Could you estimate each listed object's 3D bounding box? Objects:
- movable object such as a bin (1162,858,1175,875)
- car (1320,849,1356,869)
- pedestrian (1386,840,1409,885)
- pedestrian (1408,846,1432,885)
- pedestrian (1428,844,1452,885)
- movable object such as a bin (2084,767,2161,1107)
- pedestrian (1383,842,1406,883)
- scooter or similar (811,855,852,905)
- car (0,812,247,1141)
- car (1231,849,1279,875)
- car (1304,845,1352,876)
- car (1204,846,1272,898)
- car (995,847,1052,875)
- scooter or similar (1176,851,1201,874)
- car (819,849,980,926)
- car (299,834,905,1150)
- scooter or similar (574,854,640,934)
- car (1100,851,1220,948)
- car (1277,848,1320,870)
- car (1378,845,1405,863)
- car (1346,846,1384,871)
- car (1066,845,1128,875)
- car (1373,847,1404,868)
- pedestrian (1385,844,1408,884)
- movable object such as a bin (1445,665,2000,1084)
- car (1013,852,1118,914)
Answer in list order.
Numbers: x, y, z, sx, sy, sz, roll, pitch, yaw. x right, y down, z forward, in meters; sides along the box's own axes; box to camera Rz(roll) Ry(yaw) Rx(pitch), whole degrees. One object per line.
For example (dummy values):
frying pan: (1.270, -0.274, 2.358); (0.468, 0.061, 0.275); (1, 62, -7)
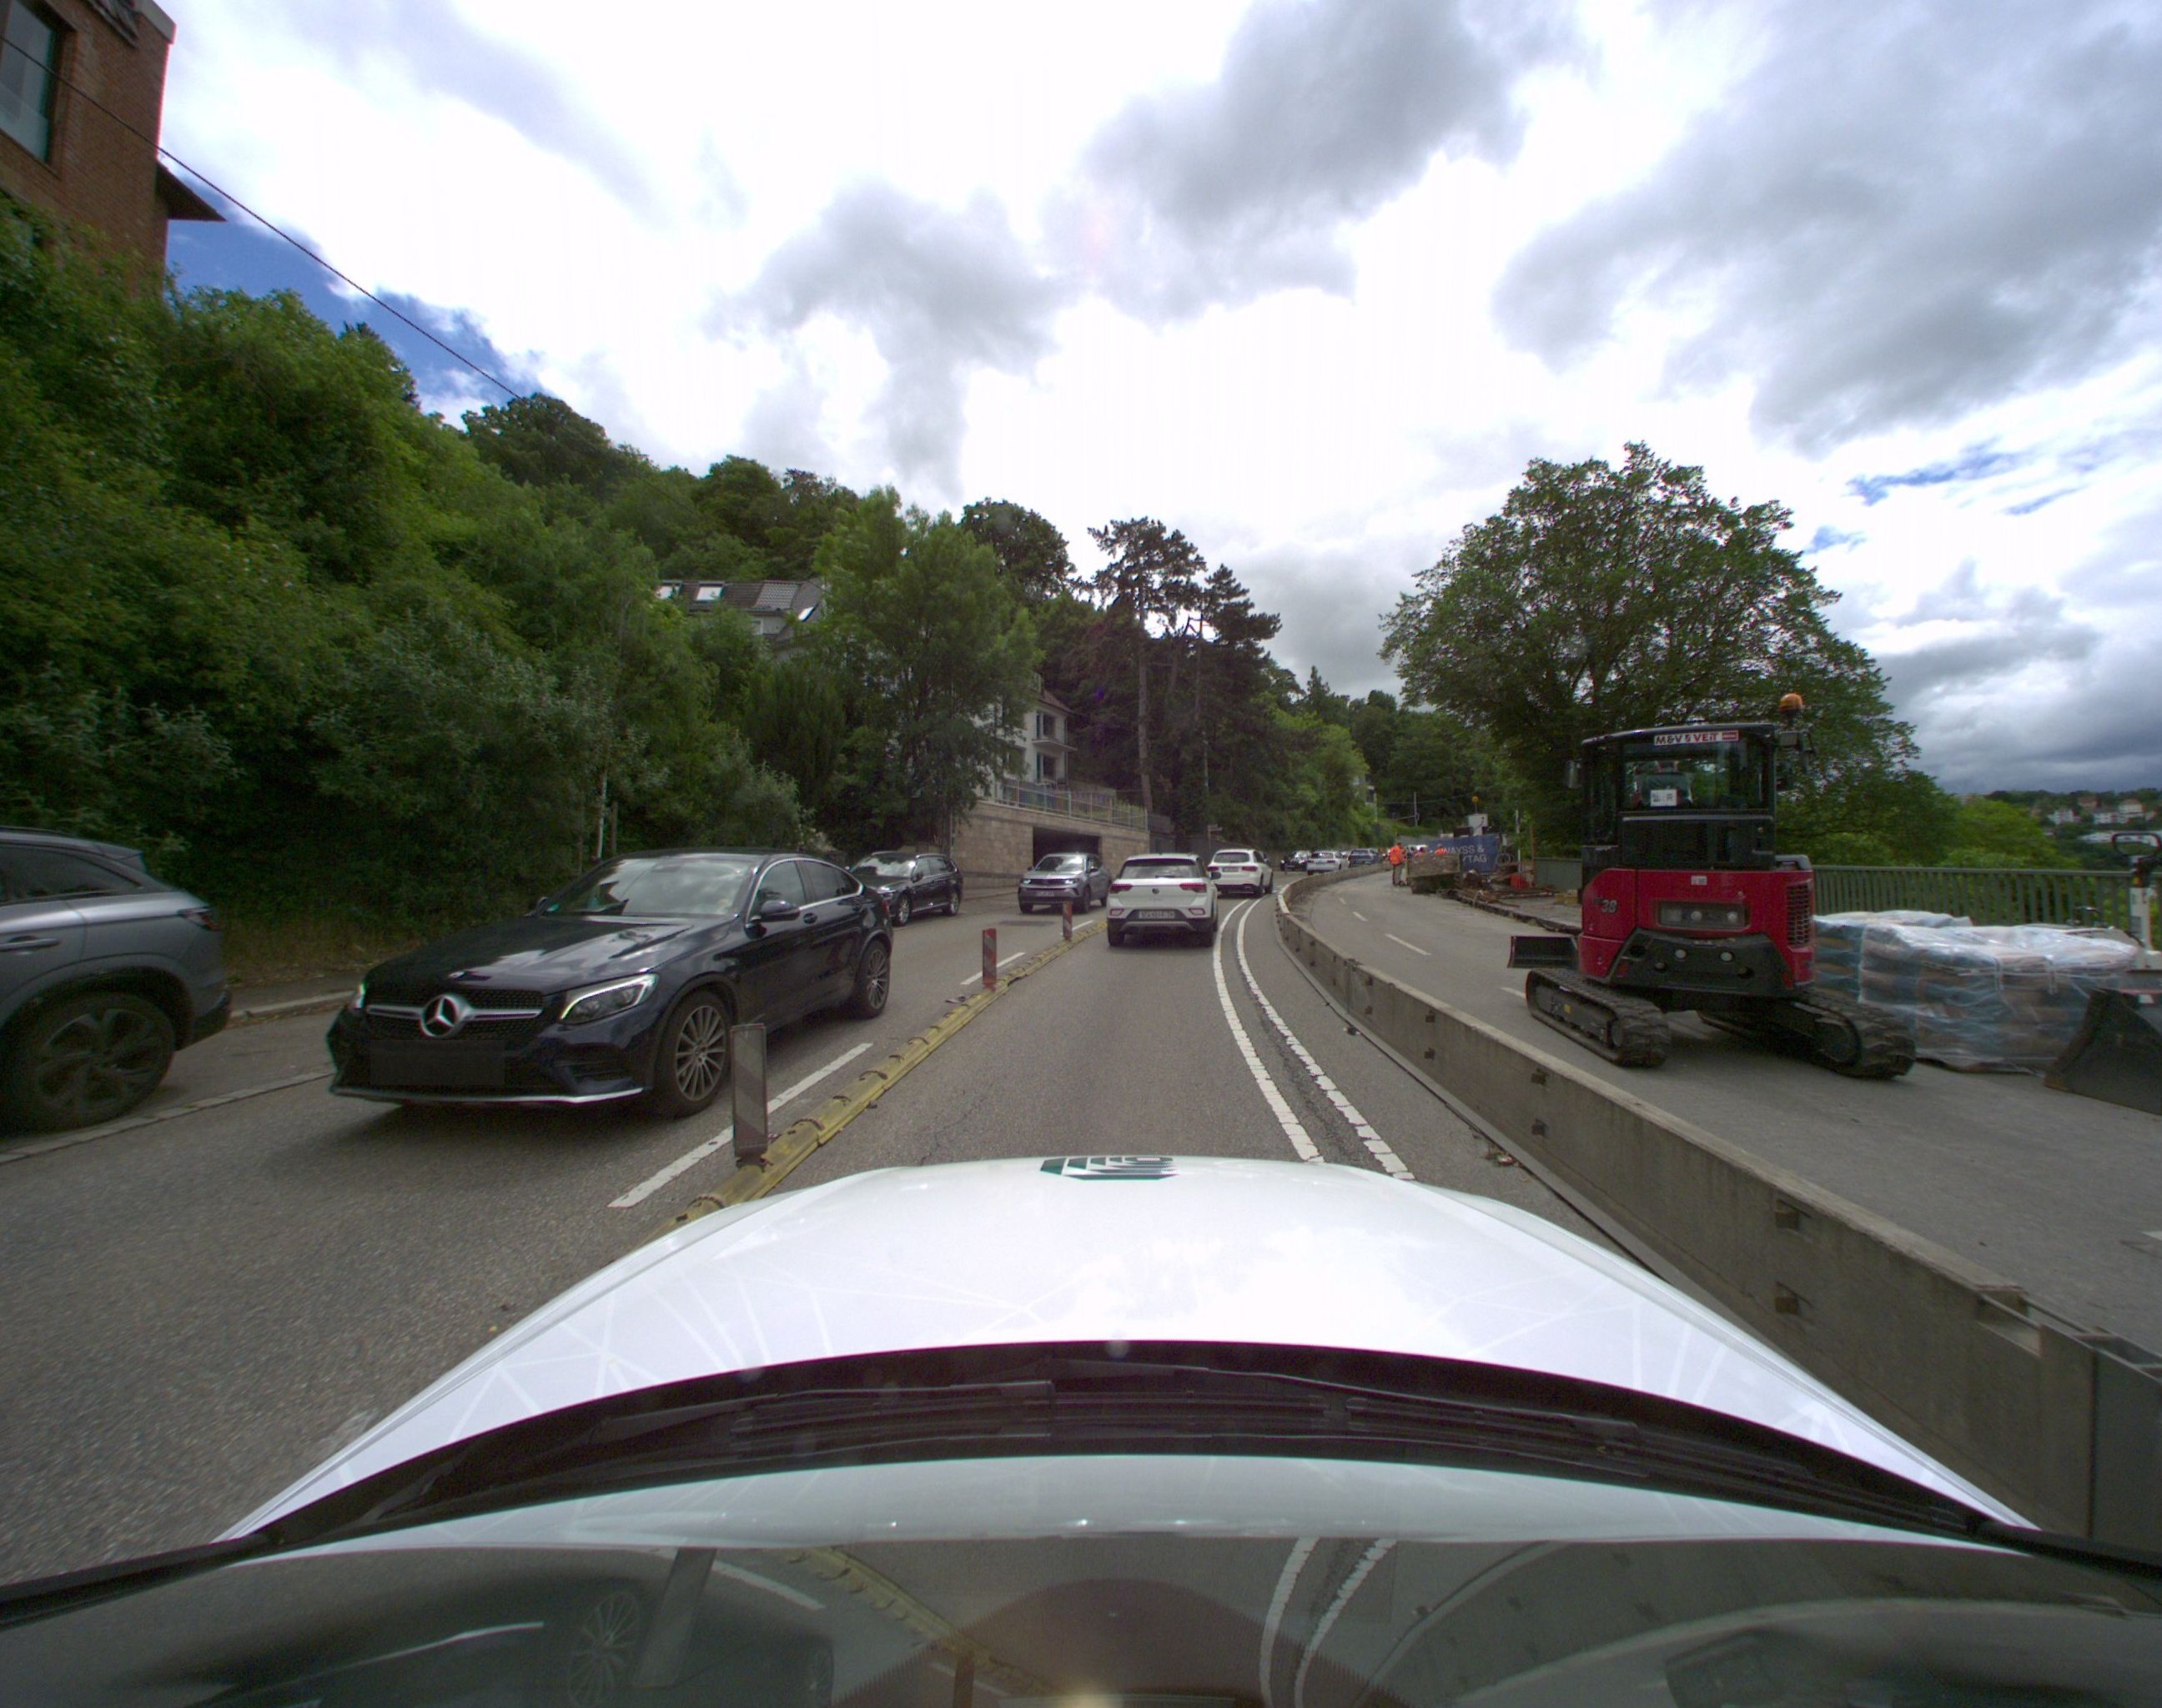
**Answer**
movable object such as a bin: (4.994, 0.732, 46.627); (0.543, 0.977, 0.513); (-1, -1, 30)
car: (20.134, 0.355, 63.673); (1.750, 1.452, 4.335); (1, 1, 30)
pedestrian: (13.454, 0.354, 34.602); (0.687, 1.906, 0.826); (-1, 0, 4)
pedestrian: (14.314, 0.488, 34.370); (0.775, 1.608, 0.671); (-1, 0, 32)
pedestrian: (14.893, 0.432, 33.756); (0.775, 1.688, 0.790); (-1, 0, 32)
movable object such as a bin: (6.959, 0.478, 2.926); (1.694, 1.943, 4.167); (0, 0, 2)
pedestrian: (14.095, 0.375, 36.622); (0.869, 1.822, 0.882); (-1, 0, 16)
scooter or similar: (-6.394, 0.651, 20.887); (0.413, 1.232, 1.126); (2, 0, 15)
car: (-6.161, 0.564, 2.982); (1.679, 1.606, 4.190); (2, 0, 4)
car: (10.330, 0.450, 48.163); (1.751, 1.435, 4.334); (-1, 0, 26)
car: (14.621, 0.354, 48.087); (1.792, 1.663, 4.025); (-2, 0, 30)
car: (5.529, 0.567, 28.290); (1.795, 1.663, 4.019); (-2, 0, 18)
car: (-3.049, 0.423, 43.661); (1.756, 1.419, 3.561); (0, -2, 19)
scooter or similar: (6.017, 0.463, 45.608); (1.303, 1.255, 0.467); (0, 0, 2)
car: (-3.941, 0.671, 18.611); (1.724, 1.451, 4.699); (2, 0, 12)
car: (-2.931, 0.677, 6.252); (1.758, 1.568, 4.238); (0, 0, 7)
scooter or similar: (-7.583, 0.616, 13.067); (0.347, 1.213, 1.047); (2, 0, 4)
car: (1.584, 0.730, 14.968); (1.798, 1.531, 4.012); (0, 0, 11)
car: (15.314, 0.340, 57.106); (1.750, 1.435, 4.336); (1, 1, 31)
car: (29.830, -0.002, 78.257); (1.792, 1.663, 4.025); (-2, 0, 30)
car: (20.246, 0.294, 57.956); (1.792, 1.663, 4.025); (-2, 0, 30)
car: (0.880, 0.351, 42.816); (1.765, 1.453, 3.724); (0, -2, 27)
car: (25.674, 0.266, 67.894); (1.792, 1.663, 4.025); (-2, 0, 30)
pedestrian: (13.800, 0.441, 35.623); (0.869, 1.731, 0.882); (-1, 0, 16)
movable object such as a bin: (5.254, 0.125, 7.813); (2.197, 2.663, 4.960); (0, 0, 11)
car: (-0.306, 0.703, 22.124); (1.754, 1.518, 4.042); (0, 0, 15)
